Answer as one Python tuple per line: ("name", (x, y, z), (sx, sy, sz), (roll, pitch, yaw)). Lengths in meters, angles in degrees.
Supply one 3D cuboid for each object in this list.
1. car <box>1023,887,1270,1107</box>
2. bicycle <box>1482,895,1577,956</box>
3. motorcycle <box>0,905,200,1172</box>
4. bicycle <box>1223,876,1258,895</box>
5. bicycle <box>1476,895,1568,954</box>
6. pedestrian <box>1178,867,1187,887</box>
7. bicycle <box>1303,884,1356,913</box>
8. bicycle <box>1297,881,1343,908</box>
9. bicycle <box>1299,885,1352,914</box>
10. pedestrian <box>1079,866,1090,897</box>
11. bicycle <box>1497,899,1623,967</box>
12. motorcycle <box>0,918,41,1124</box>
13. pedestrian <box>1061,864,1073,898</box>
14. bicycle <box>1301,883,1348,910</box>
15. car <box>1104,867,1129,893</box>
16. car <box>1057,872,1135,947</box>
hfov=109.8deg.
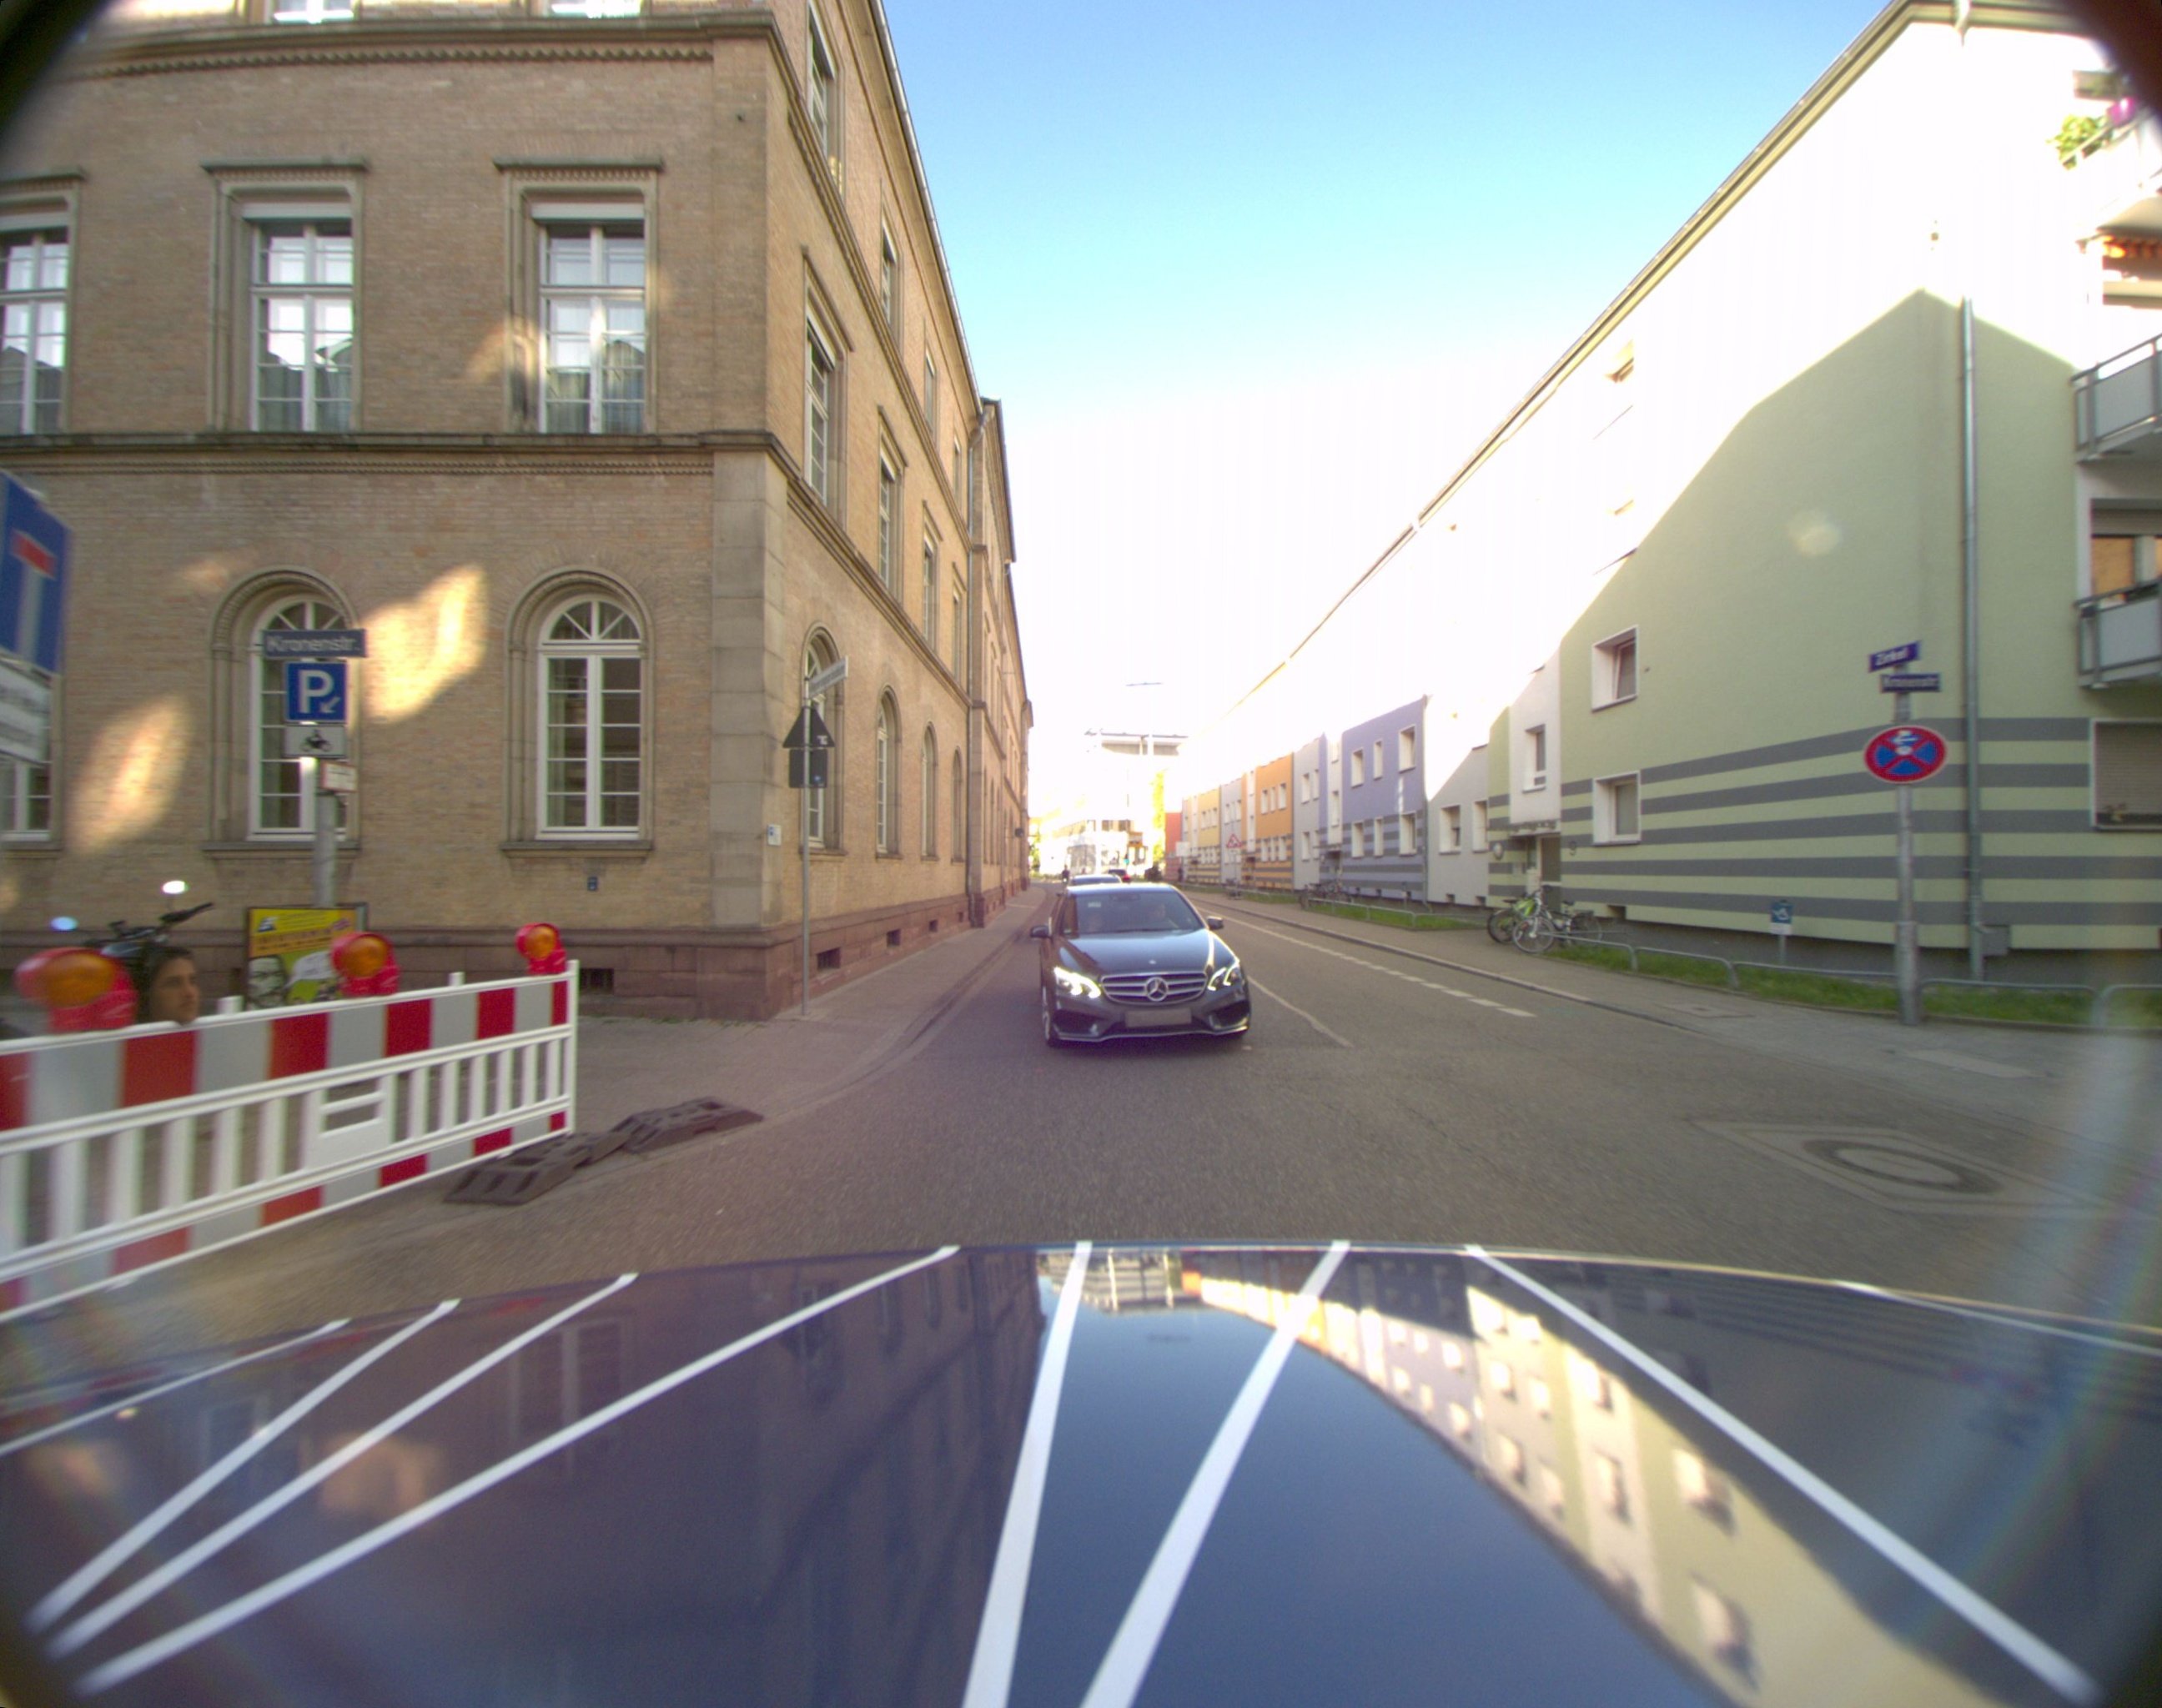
("car", (0.400, 1.172, 8.066), (1.786, 1.470, 4.670), (-3, -1, -3))
("bicycle", (9.223, 1.464, 15.648), (1.738, 1.094, 0.388), (-4, 0, -6))
("motorcycle", (-6.432, 1.059, 4.983), (2.073, 1.325, 0.708), (0, 0, 45))
("bicycle", (9.403, 1.836, 44.788), (1.807, 0.977, 0.654), (-4, 0, -3))
("bicycle", (9.310, 1.484, 16.051), (1.738, 1.094, 0.388), (-4, 0, -6))
("pedestrian", (8.128, 1.865, 61.062), (0.612, 1.640, 0.447), (0, 0, -5))
("bicycle", (9.420, 1.680, 28.815), (1.802, 0.940, 0.388), (-4, 0, 1))
("bicycle", (9.593, 1.616, 30.475), (1.657, 0.940, 0.388), (-4, 0, 1))
("bicycle", (9.040, 1.674, 28.129), (1.802, 0.940, 0.388), (-4, 0, 1))
("pedestrian", (0.210, 1.628, 45.165), (0.603, 1.770, 0.652), (0, 0, 0))
("bicycle", (8.931, 1.454, 14.216), (1.820, 1.094, 0.749), (-4, -1, 1))
("motorcycle", (-7.962, 1.088, 4.425), (0.827, 1.280, 2.149), (-1, -1, 45))
("pedestrian", (-0.793, 1.574, 44.139), (0.677, 1.928, 0.858), (0, 0, 0))
("bicycle", (9.634, 1.692, 30.068), (1.657, 0.940, 0.388), (-4, 0, 1))
("car", (2.608, 1.900, 56.486), (1.682, 1.776, 4.243), (-3, -1, 1))
("car", (0.381, 1.312, 19.393), (1.682, 1.568, 4.243), (-3, -1, 1))
